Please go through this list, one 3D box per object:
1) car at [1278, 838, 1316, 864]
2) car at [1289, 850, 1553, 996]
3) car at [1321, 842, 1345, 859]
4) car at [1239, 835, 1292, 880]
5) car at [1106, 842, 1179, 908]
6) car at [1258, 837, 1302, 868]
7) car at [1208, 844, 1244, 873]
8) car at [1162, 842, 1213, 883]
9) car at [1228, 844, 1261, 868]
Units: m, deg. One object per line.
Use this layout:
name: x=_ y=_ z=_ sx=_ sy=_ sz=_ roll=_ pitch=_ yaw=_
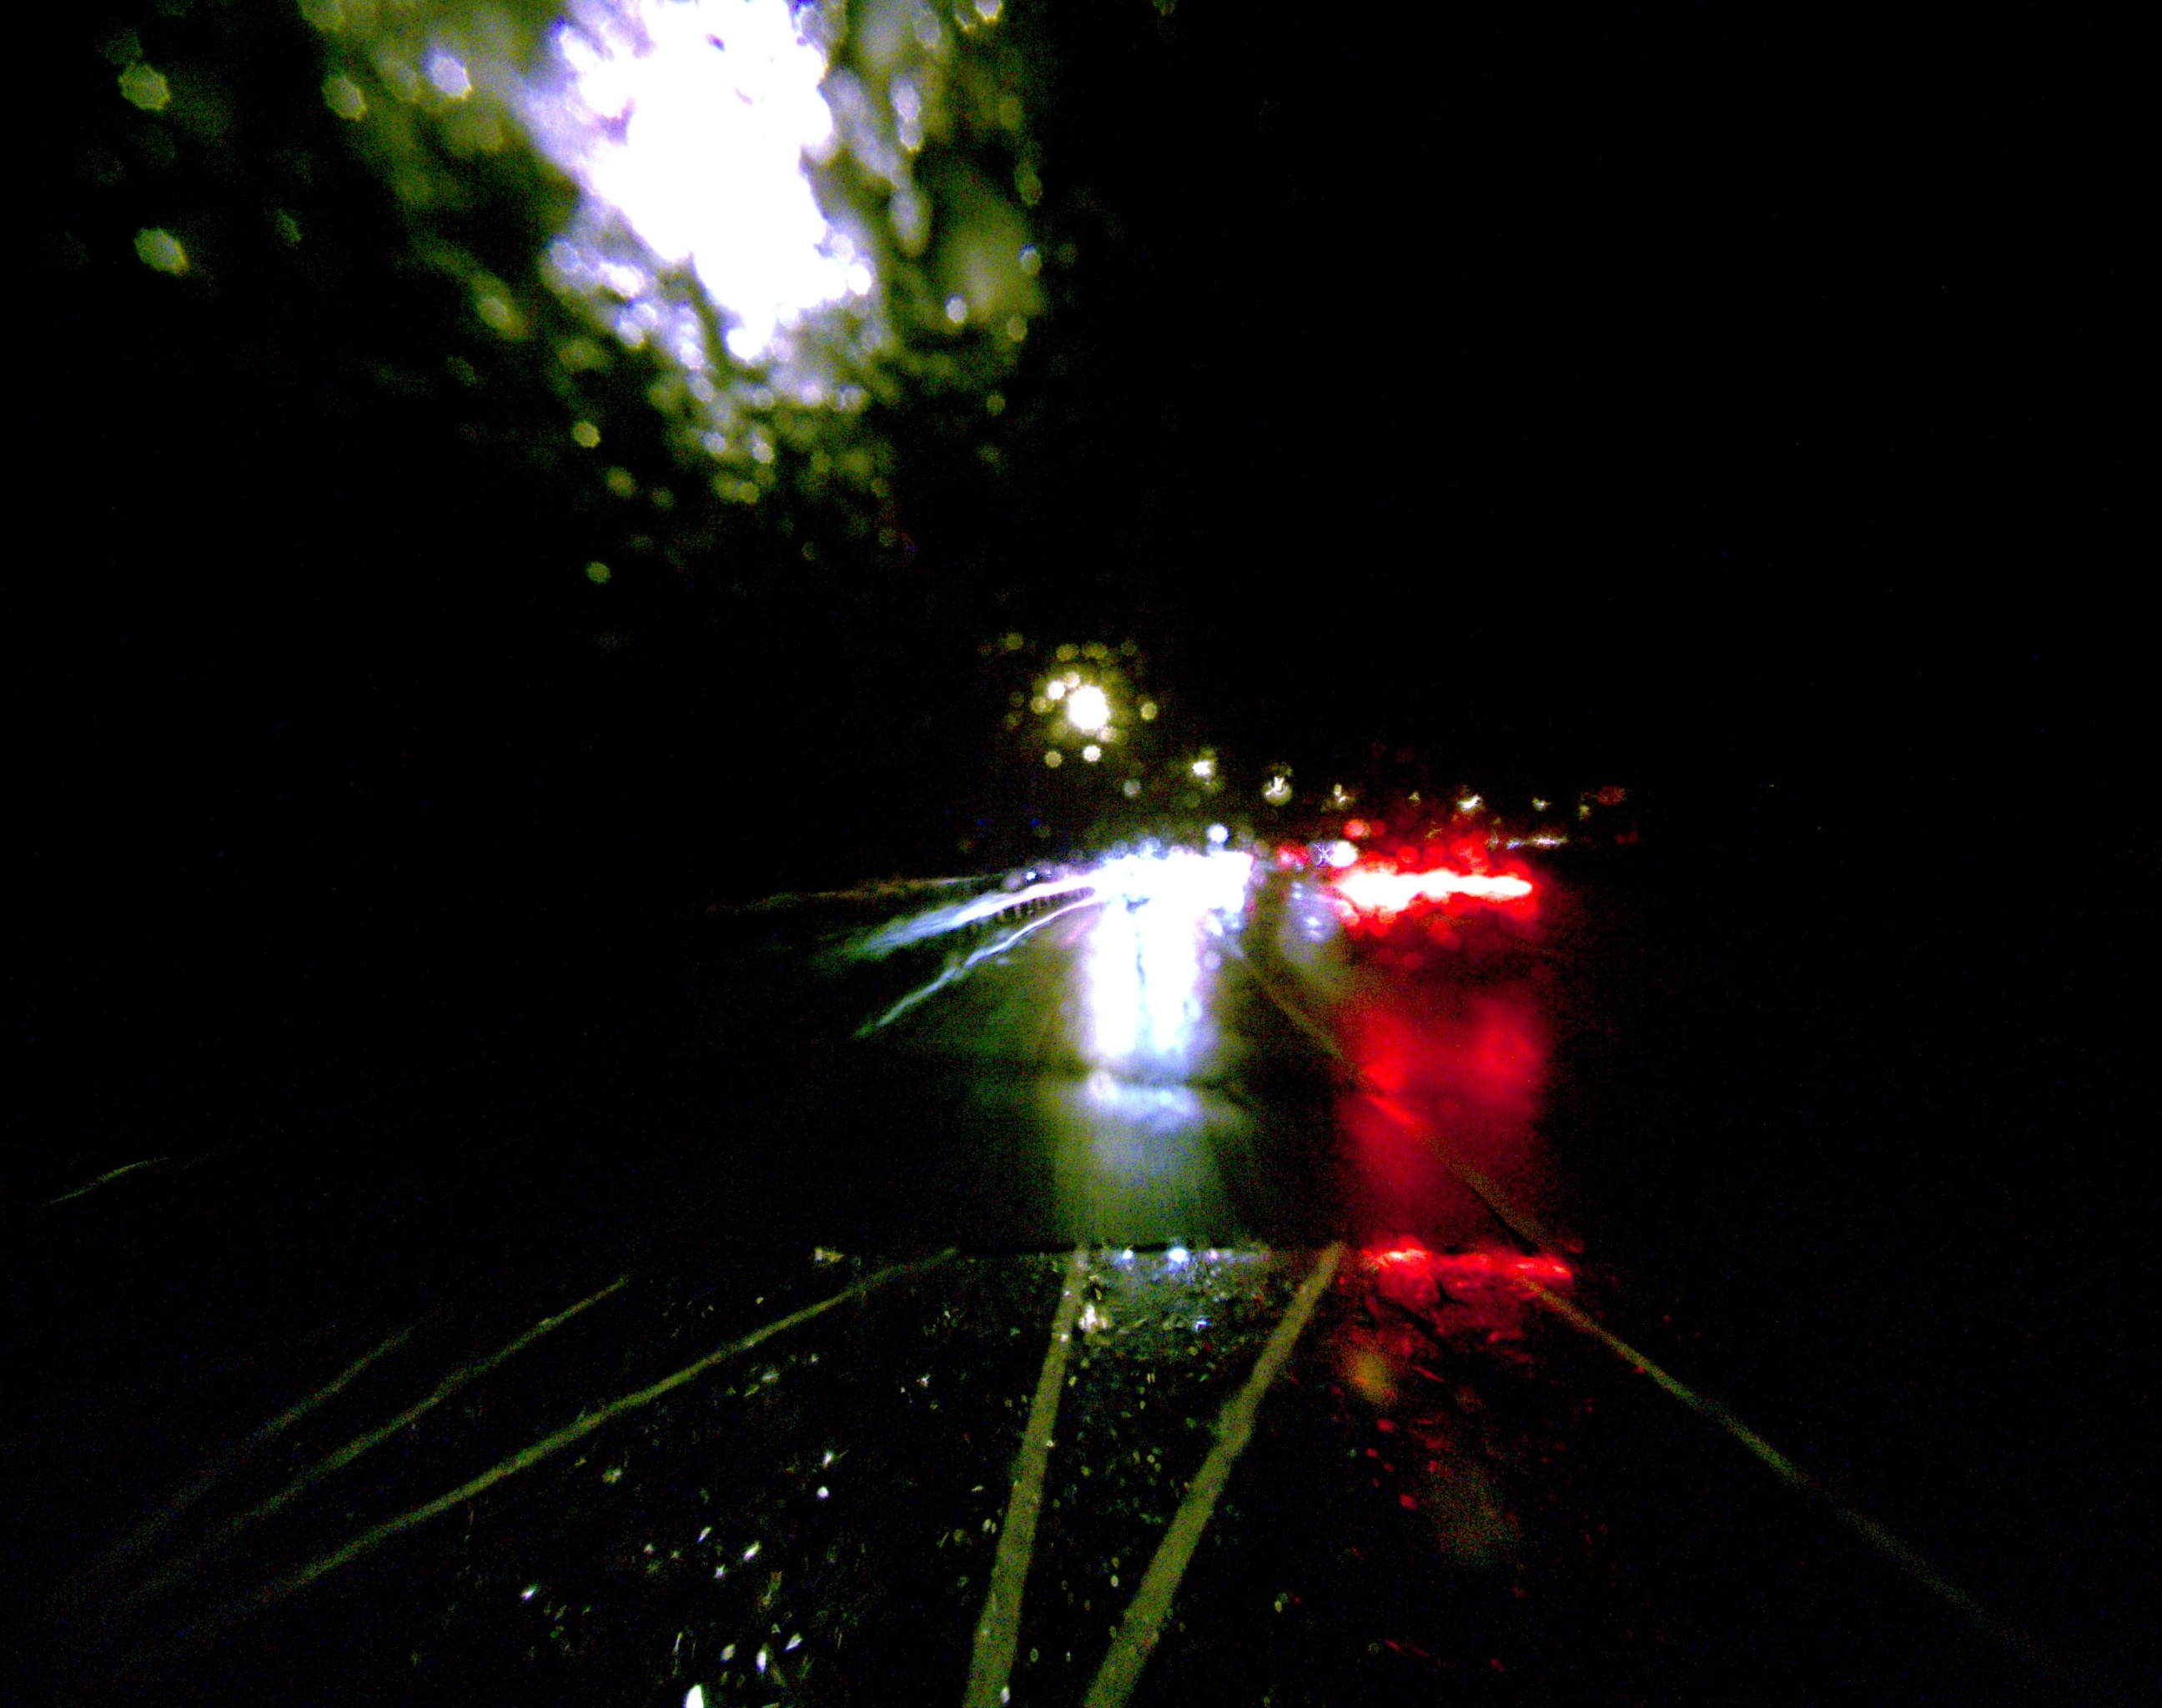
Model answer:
car: x=17.568 y=-0.254 z=61.645 sx=2.376 sy=1.924 sz=4.424 roll=-2 pitch=0 yaw=23
car: x=4.058 y=0.726 z=9.884 sx=1.997 sy=1.475 sz=4.002 roll=-2 pitch=0 yaw=7
car: x=29.836 y=-0.454 z=89.906 sx=1.995 sy=1.923 sz=4.007 roll=-2 pitch=0 yaw=28
car: x=9.321 y=0.160 z=38.176 sx=2.377 sy=2.079 sz=4.422 roll=-2 pitch=0 yaw=15
car: x=2.051 y=0.605 z=24.166 sx=1.935 sy=1.861 sz=4.003 roll=-2 pitch=0 yaw=9
car: x=13.287 y=-0.101 z=50.560 sx=2.376 sy=1.924 sz=4.423 roll=-2 pitch=0 yaw=20
car: x=10.400 y=0.298 z=54.257 sx=1.996 sy=1.923 sz=4.005 roll=-2 pitch=0 yaw=17
car: x=5.562 y=0.403 z=39.247 sx=1.996 sy=1.923 sz=4.005 roll=-2 pitch=0 yaw=16
car: x=13.994 y=0.171 z=65.038 sx=1.995 sy=1.923 sz=4.006 roll=-2 pitch=0 yaw=23
